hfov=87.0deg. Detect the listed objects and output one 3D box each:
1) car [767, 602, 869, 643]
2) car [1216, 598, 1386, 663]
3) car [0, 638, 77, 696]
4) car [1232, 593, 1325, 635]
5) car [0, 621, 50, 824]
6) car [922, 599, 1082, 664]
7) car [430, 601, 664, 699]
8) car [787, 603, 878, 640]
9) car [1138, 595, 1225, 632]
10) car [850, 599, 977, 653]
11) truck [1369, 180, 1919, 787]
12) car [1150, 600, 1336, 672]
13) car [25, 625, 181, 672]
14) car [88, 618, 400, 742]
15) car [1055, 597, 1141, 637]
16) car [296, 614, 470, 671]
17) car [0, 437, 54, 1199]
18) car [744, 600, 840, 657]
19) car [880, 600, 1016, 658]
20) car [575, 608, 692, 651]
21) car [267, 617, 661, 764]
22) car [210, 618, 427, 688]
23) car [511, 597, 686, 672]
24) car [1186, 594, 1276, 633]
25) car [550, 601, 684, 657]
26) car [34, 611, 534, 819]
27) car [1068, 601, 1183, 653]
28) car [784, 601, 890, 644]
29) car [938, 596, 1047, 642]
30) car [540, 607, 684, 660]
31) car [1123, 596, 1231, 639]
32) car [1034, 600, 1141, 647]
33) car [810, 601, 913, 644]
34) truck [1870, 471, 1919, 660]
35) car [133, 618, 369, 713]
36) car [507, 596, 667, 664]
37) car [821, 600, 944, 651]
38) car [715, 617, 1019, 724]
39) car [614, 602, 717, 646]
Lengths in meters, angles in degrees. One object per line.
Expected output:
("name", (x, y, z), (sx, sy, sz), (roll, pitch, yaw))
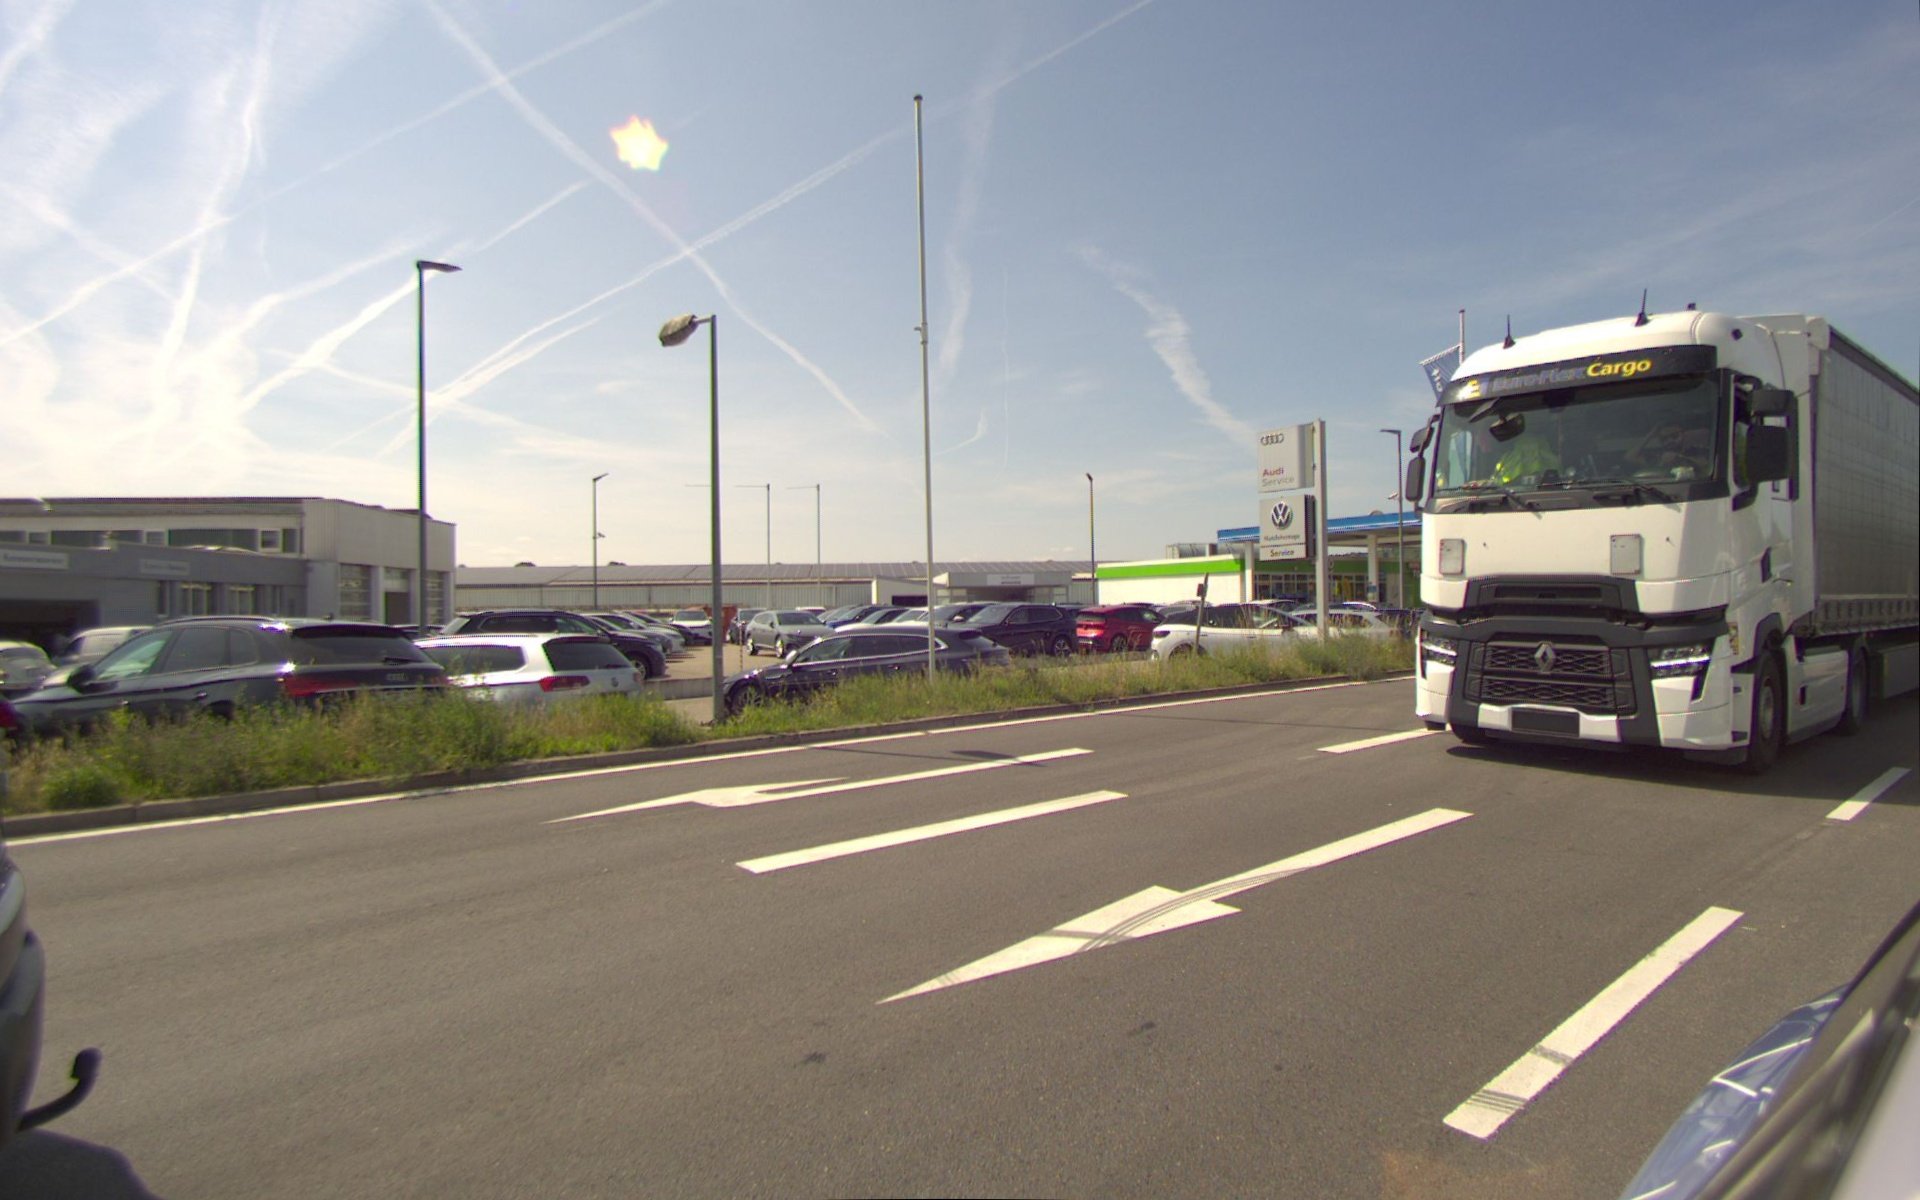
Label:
("car", (-5.940, 0.903, 42.392), (3.895, 1.638, 1.709), (0, 0, -36))
("car", (7.991, 0.669, 23.699), (3.625, 1.420, 1.724), (0, 0, 25))
("car", (-25.571, 1.737, 26.800), (3.716, 1.382, 1.664), (-1, 0, 19))
("car", (12.840, 0.536, 40.687), (3.929, 1.594, 1.788), (0, 0, -40))
("car", (-9.455, 0.964, 7.948), (3.985, 1.555, 1.728), (0, 0, 19))
("car", (1.230, 0.828, 28.630), (4.201, 1.678, 1.999), (0, 0, -36))
("car", (-8.531, 0.939, 21.030), (4.154, 1.812, 1.982), (0, 0, -37))
("car", (-5.984, 0.971, 47.640), (3.895, 1.638, 1.709), (0, 0, -36))
("car", (9.879, 0.561, 45.051), (3.929, 1.594, 1.788), (0, 0, -40))
("car", (-1.492, 0.807, 33.130), (3.895, 1.638, 1.709), (0, 0, -36))
("truck", (11.152, -0.916, 13.433), (16.405, 4.319, 2.897), (-1, 1, -38))
("car", (6.048, 0.726, 21.617), (3.625, 1.420, 1.724), (0, 0, 25))
("car", (-24.748, 1.386, 29.254), (3.664, 1.270, 1.599), (-1, 0, 13))
("car", (-12.064, 1.239, 17.241), (4.156, 1.777, 1.906), (0, -1, -39))
("car", (6.023, 0.736, 44.533), (1.721, 1.672, 3.652), (0, 0, -34))
("car", (-16.845, 1.217, 29.790), (4.143, 1.526, 1.987), (0, 0, -19))
("car", (-3.715, 0.572, 1.152), (3.930, 1.706, 1.822), (0, 1, -40))
("car", (-5.317, 0.821, 31.571), (1.959, 1.638, 4.007), (0, 0, -25))
("car", (-0.338, 0.819, 30.559), (3.755, 1.638, 1.857), (0, 0, -36))
("car", (-12.484, 1.104, 38.791), (4.143, 1.526, 1.987), (0, 0, -19))
("car", (-5.594, 0.919, 11.474), (3.985, 1.420, 1.728), (0, 0, 19))
("car", (-15.583, 1.246, 24.853), (4.143, 1.526, 1.987), (0, 0, -19))
("car", (-9.373, 0.850, 26.451), (4.143, 1.812, 1.987), (0, 0, -19))
("car", (11.578, 0.535, 43.138), (3.929, 1.594, 1.788), (0, 0, -40))
("car", (-11.446, 0.927, 34.058), (4.144, 1.777, 1.911), (0, 0, -14))
("car", (-6.078, 0.893, 9.160), (3.985, 1.555, 1.728), (0, 0, 19))
("car", (5.187, 0.789, 31.575), (3.530, 1.426, 1.563), (-1, 2, -38))
("car", (-4.914, 0.868, 40.594), (3.895, 1.638, 1.709), (0, 0, -36))
("car", (1.250, 0.685, 38.270), (3.893, 1.638, 1.709), (0, 0, -35))
("car", (-10.858, 1.008, 31.716), (4.143, 1.526, 1.987), (0, 0, -19))
("car", (8.520, 0.641, 39.978), (1.757, 1.594, 3.997), (0, 0, -37))
("car", (4.365, 0.751, 34.428), (3.530, 1.426, 1.563), (-1, 2, -38))
("car", (-3.621, 0.789, 37.585), (3.530, 1.426, 1.563), (-1, 2, -38))
("truck", (24.285, -0.749, 23.367), (10.936, 3.859, 2.887), (-1, 1, -37))
("car", (-13.725, 1.185, 19.690), (3.655, 1.601, 1.603), (0, -1, -41))
("car", (-10.586, 0.825, 28.932), (4.143, 1.812, 1.987), (0, 0, -19))
("car", (-2.645, 0.820, 34.900), (3.895, 1.638, 1.709), (0, 0, -36))
("car", (-1.392, 0.983, 15.330), (4.291, 1.420, 1.728), (0, 0, 19))
("car", (-12.521, 1.005, 43.274), (4.144, 1.777, 1.911), (0, 0, -13))
